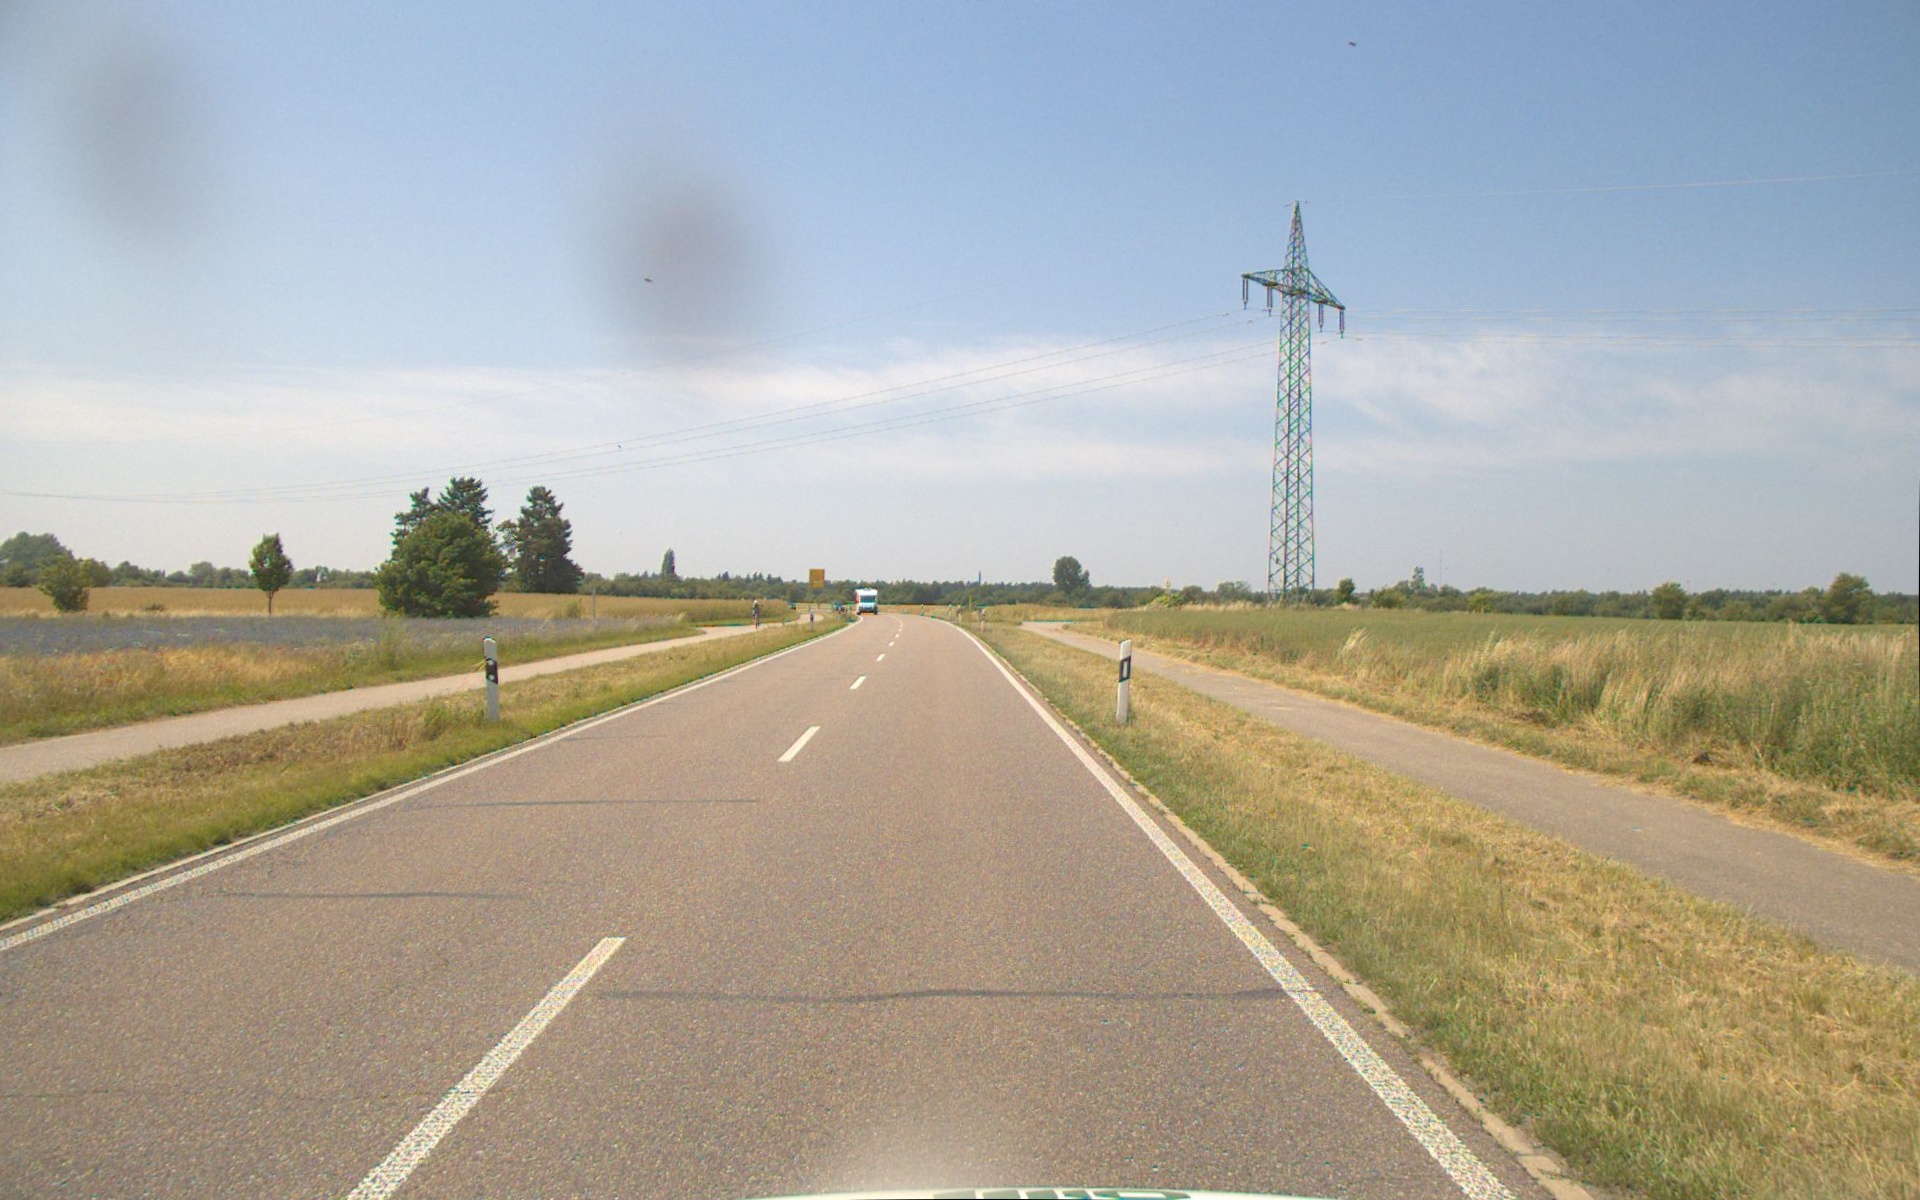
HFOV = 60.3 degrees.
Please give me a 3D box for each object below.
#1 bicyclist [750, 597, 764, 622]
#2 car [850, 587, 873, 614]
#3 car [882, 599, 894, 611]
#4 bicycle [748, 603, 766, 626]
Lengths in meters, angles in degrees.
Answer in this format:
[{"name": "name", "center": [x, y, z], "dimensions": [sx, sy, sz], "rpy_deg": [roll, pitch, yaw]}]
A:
[{"name": "bicyclist", "center": [-11.291, 0.524, 91.869], "dimensions": [0.687, 1.354, 0.965], "rpy_deg": [0, 0, -1]}, {"name": "car", "center": [-10.849, 0.104, 182.518], "dimensions": [2.349, 2.896, 7.625], "rpy_deg": [0, 0, -1]}, {"name": "car", "center": [-9.429, 0.661, 217.106], "dimensions": [1.591, 1.517, 3.998], "rpy_deg": [0, 0, -3]}, {"name": "bicycle", "center": [-11.281, 0.806, 91.906], "dimensions": [0.747, 1.250, 2.215], "rpy_deg": [0, 0, -1]}]
